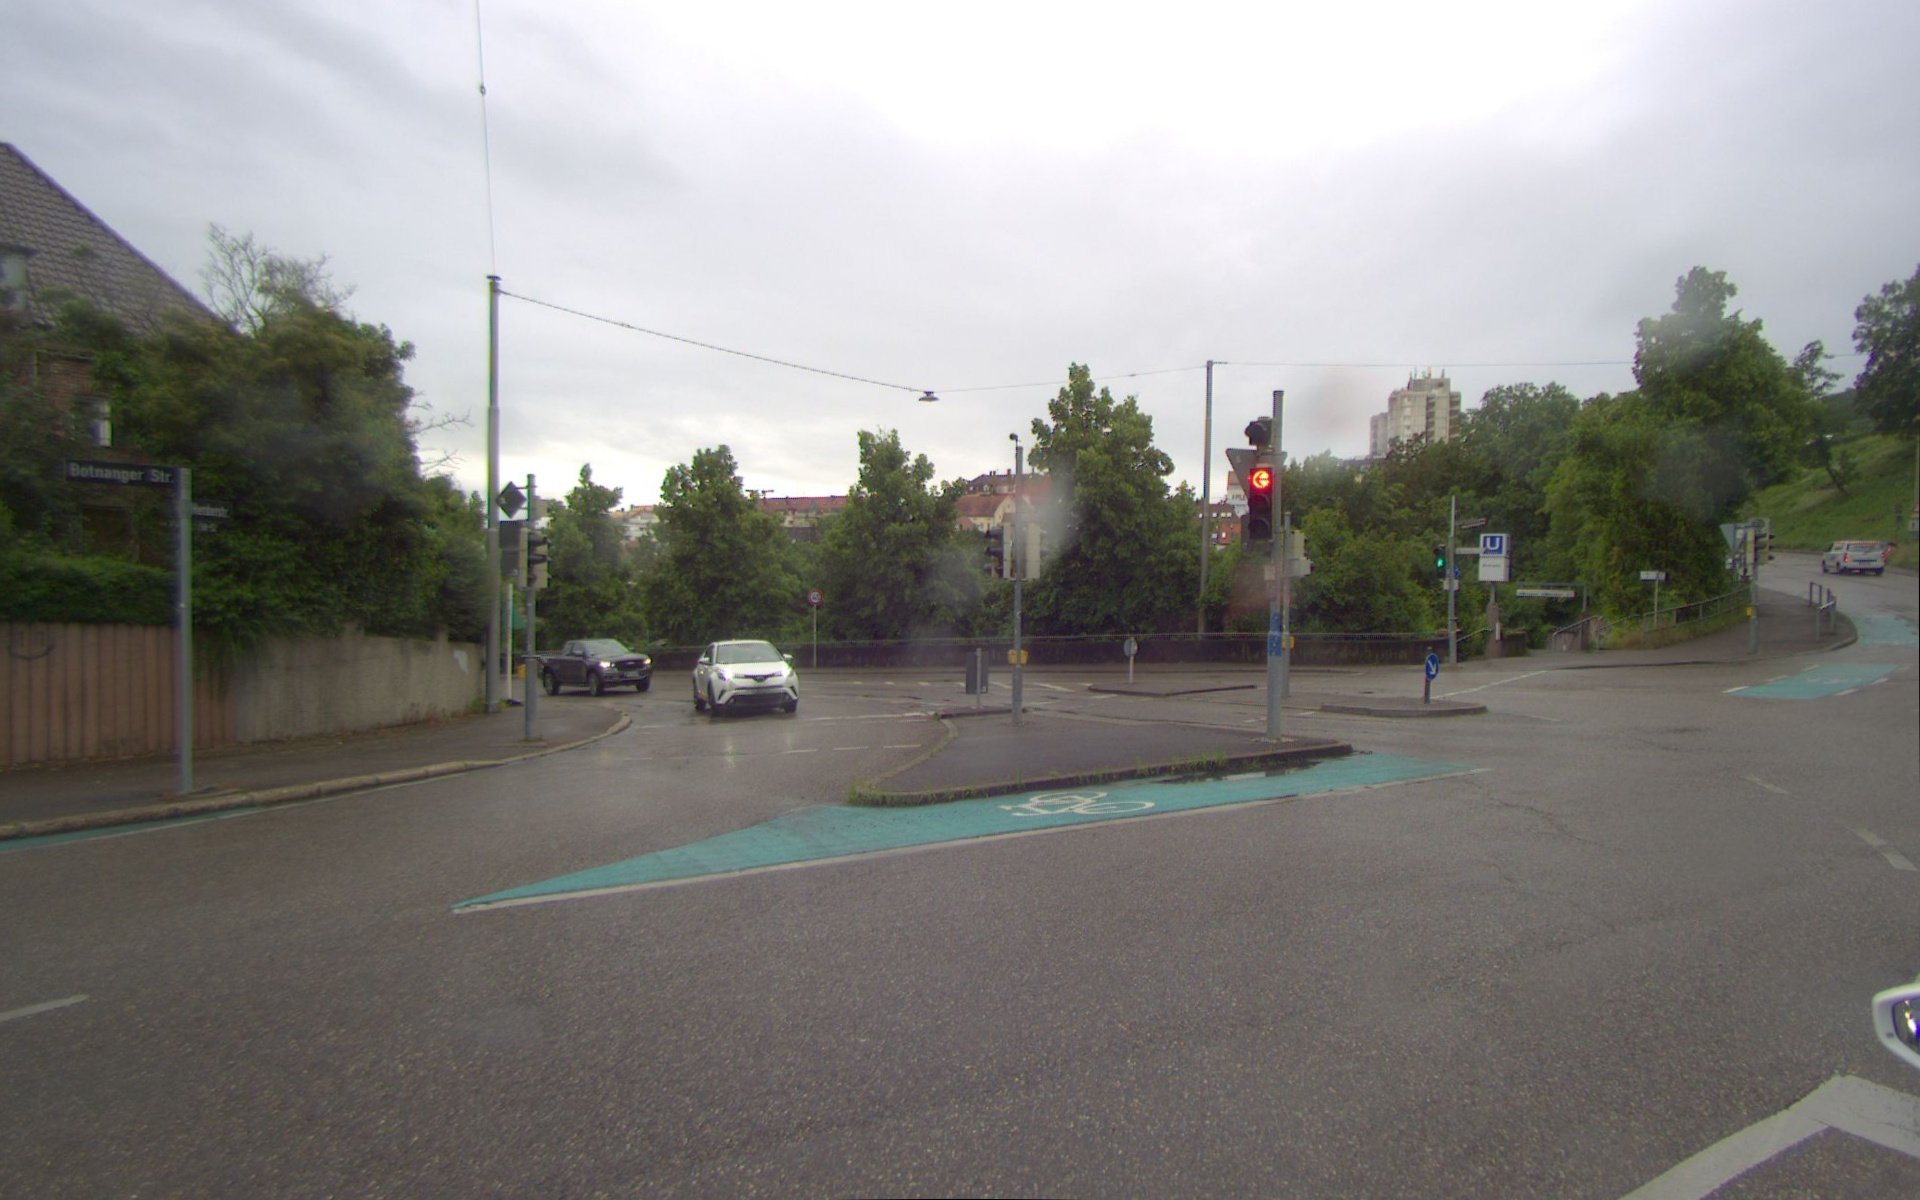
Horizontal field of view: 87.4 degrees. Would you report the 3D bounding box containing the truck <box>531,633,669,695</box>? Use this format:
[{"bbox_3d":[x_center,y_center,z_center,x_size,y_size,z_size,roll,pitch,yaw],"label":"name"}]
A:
[{"bbox_3d":[-12.105,2.157,33.644,4.911,1.809,1.901,-5,-3,37],"label":"truck"}]

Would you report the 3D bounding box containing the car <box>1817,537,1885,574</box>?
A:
[{"bbox_3d":[53.426,-2.647,60.350,2.035,2.033,4.806,1,1,29],"label":"car"}]

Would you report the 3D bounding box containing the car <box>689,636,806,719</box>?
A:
[{"bbox_3d":[-4.654,1.629,21.595,1.810,1.527,3.866,-2,-2,-21],"label":"car"}]
